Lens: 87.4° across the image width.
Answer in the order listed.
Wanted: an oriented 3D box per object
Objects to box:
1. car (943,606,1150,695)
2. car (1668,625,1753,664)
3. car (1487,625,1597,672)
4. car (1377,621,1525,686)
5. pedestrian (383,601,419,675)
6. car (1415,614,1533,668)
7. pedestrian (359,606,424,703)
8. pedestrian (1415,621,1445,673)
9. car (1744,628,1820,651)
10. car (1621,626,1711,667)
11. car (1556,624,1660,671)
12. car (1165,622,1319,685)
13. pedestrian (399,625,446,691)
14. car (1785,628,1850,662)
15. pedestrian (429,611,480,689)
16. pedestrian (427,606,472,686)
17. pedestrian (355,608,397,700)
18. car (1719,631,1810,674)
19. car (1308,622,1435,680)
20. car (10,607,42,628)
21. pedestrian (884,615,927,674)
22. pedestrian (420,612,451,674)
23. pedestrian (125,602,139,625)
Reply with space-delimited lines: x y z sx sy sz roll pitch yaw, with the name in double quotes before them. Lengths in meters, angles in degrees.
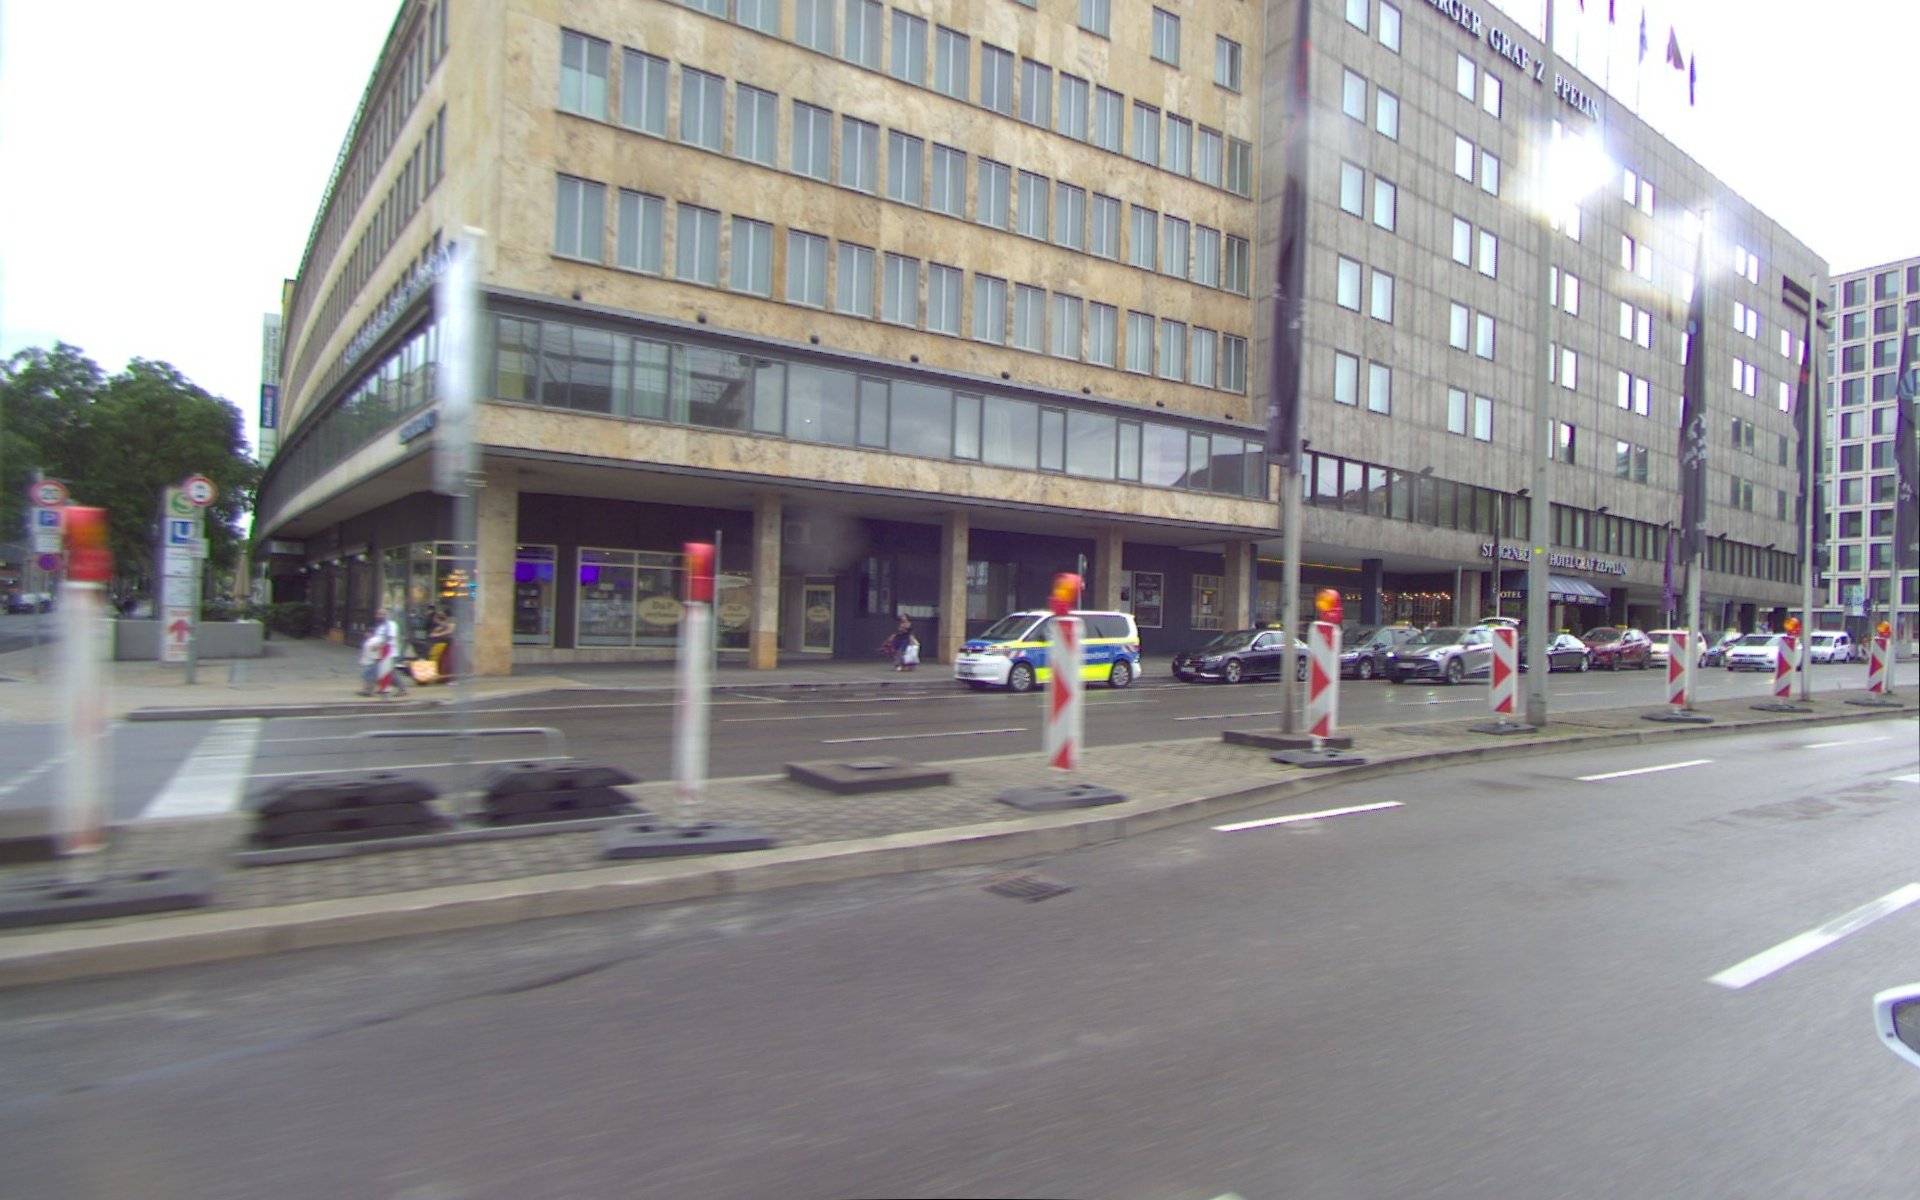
"car" 2.172 1.160 24.369 5.025 1.954 1.888 1 -2 -36
"car" 35.536 2.118 47.544 4.465 1.750 1.806 2 -2 -33
"car" 22.117 1.802 38.120 4.570 1.681 1.891 1 -1 -35
"car" 13.837 1.476 28.237 4.453 1.691 1.764 2 -3 -34
"pedestrian" -14.652 0.982 26.344 0.763 1.900 0.712 1 -1 -29
"car" 17.926 1.427 34.973 4.665 1.781 1.743 2 -2 -36
"pedestrian" -10.175 0.952 17.973 0.784 1.640 0.828 2 2 -45
"pedestrian" 16.695 1.658 35.674 0.649 1.805 0.619 2 0 -26
"car" 75.059 3.585 91.817 2.058 1.929 5.056 1 -2 -24
"car" 31.014 2.027 44.098 4.532 1.720 1.804 2 -2 -35
"car" 26.668 1.943 41.316 4.596 1.791 1.891 2 -2 -33
"car" 7.976 1.483 28.206 4.520 1.643 1.743 2 -2 -36
"pedestrian" -10.975 1.174 20.510 0.746 1.309 0.559 2 -2 -36
"car" 48.177 2.513 56.433 4.328 1.786 1.763 2 -2 -35
"pedestrian" -10.632 1.042 21.124 0.654 1.613 0.680 0 -2 31
"pedestrian" -11.017 0.989 21.671 0.746 1.690 0.559 2 -2 -36
"pedestrian" -10.744 0.988 18.465 0.445 1.640 0.524 4 2 44
"car" 33.428 2.165 41.722 4.456 1.691 1.812 2 -2 -35
"car" 12.810 1.541 31.191 4.187 1.703 1.743 1 -2 -36
"car" -74.739 1.376 80.425 1.619 1.627 3.582 2 -2 -40
"pedestrian" -1.463 1.191 26.959 0.945 1.569 0.712 1 -1 -28
"pedestrian" -13.864 1.133 26.556 0.675 1.630 0.621 1 -1 -29
"pedestrian" -48.398 0.793 58.711 0.561 1.316 0.617 2 1 -38
